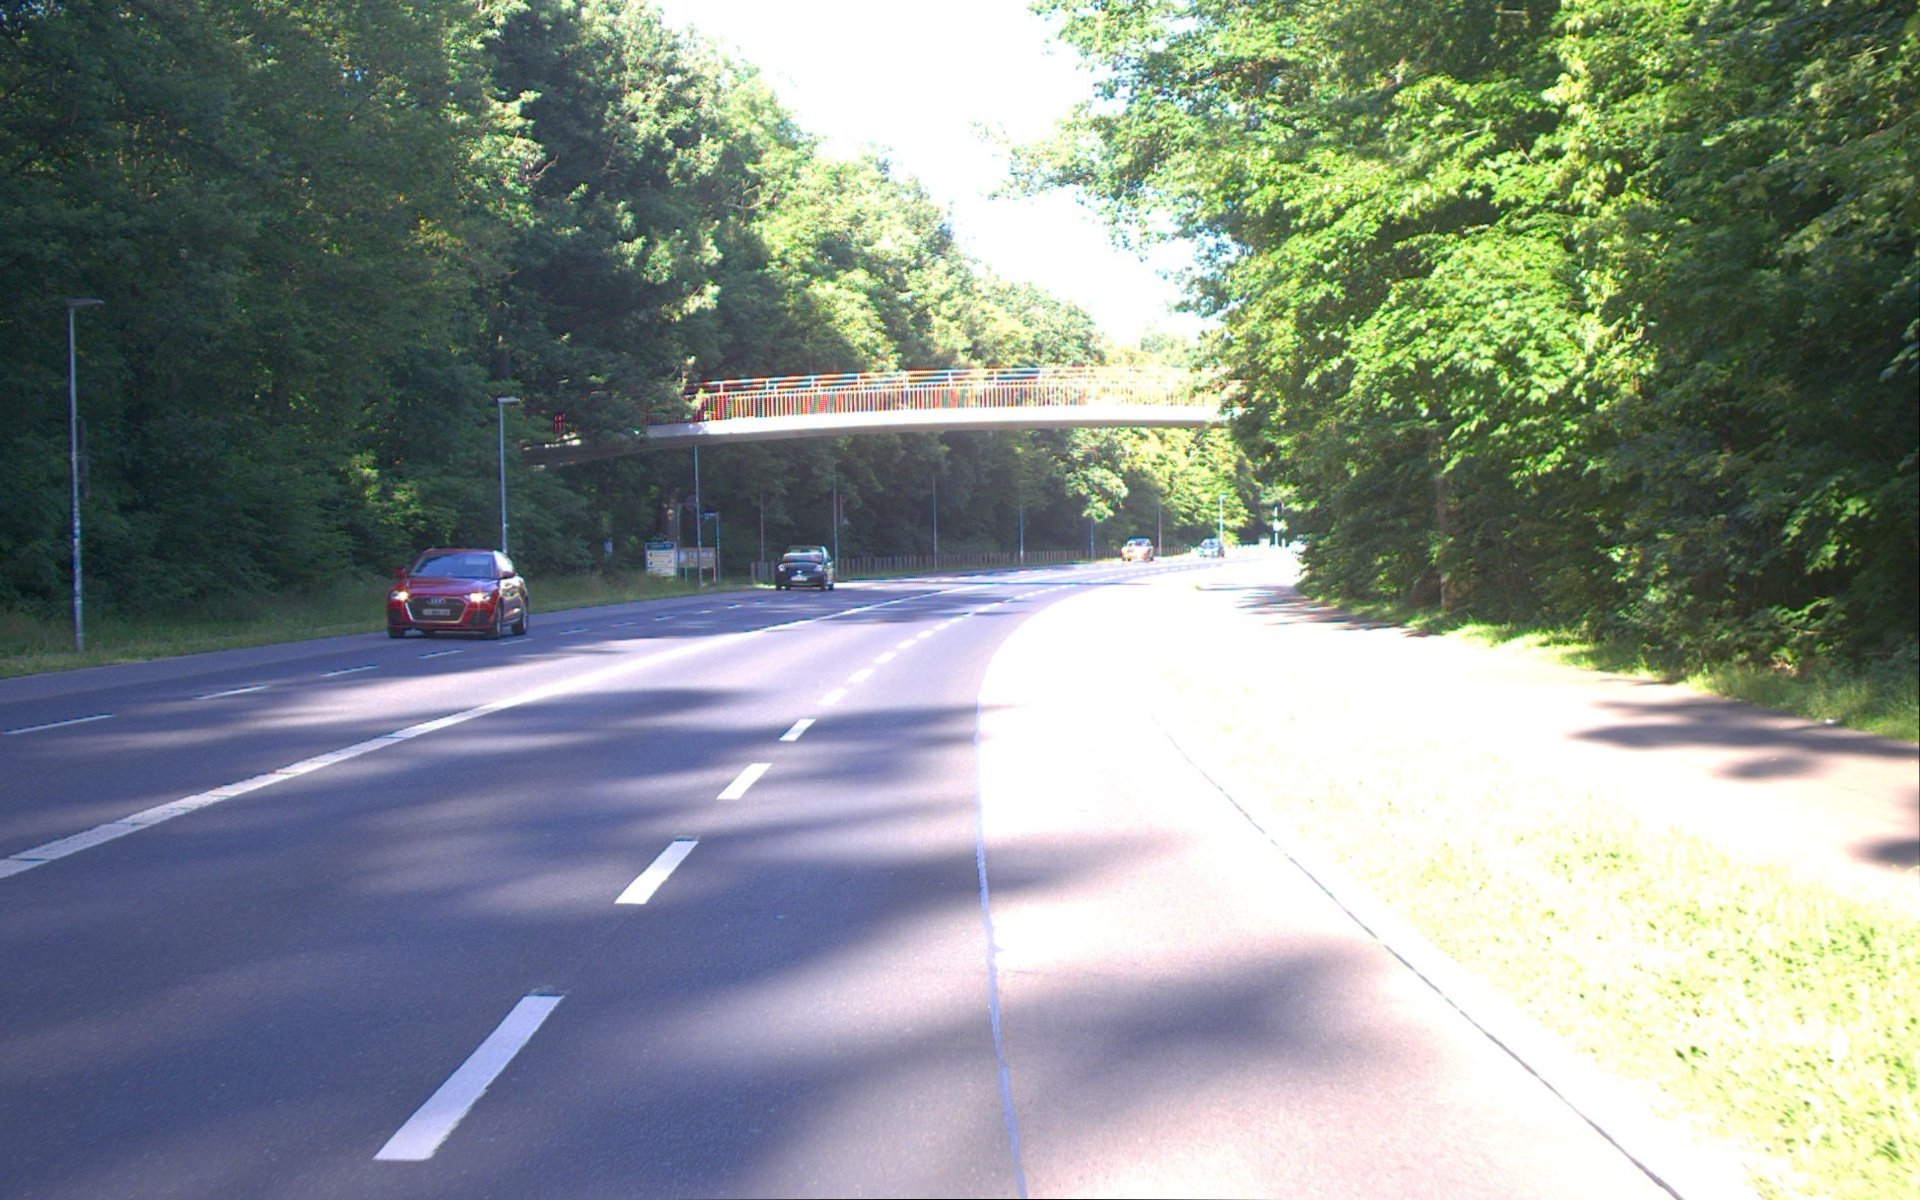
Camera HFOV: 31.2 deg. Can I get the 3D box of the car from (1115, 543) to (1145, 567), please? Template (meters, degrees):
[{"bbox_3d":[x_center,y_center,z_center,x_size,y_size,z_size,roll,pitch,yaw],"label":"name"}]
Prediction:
[{"bbox_3d":[11.651,-3.070,235.289,1.762,1.577,4.167,1,1,6],"label":"car"}]

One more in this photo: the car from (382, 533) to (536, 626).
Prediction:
[{"bbox_3d":[-7.956,-0.353,54.898,1.710,1.418,4.130,0,1,2],"label":"car"}]

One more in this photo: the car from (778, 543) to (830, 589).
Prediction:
[{"bbox_3d":[-4.990,-1.107,110.170,1.495,1.439,3.500,0,1,0],"label":"car"}]
